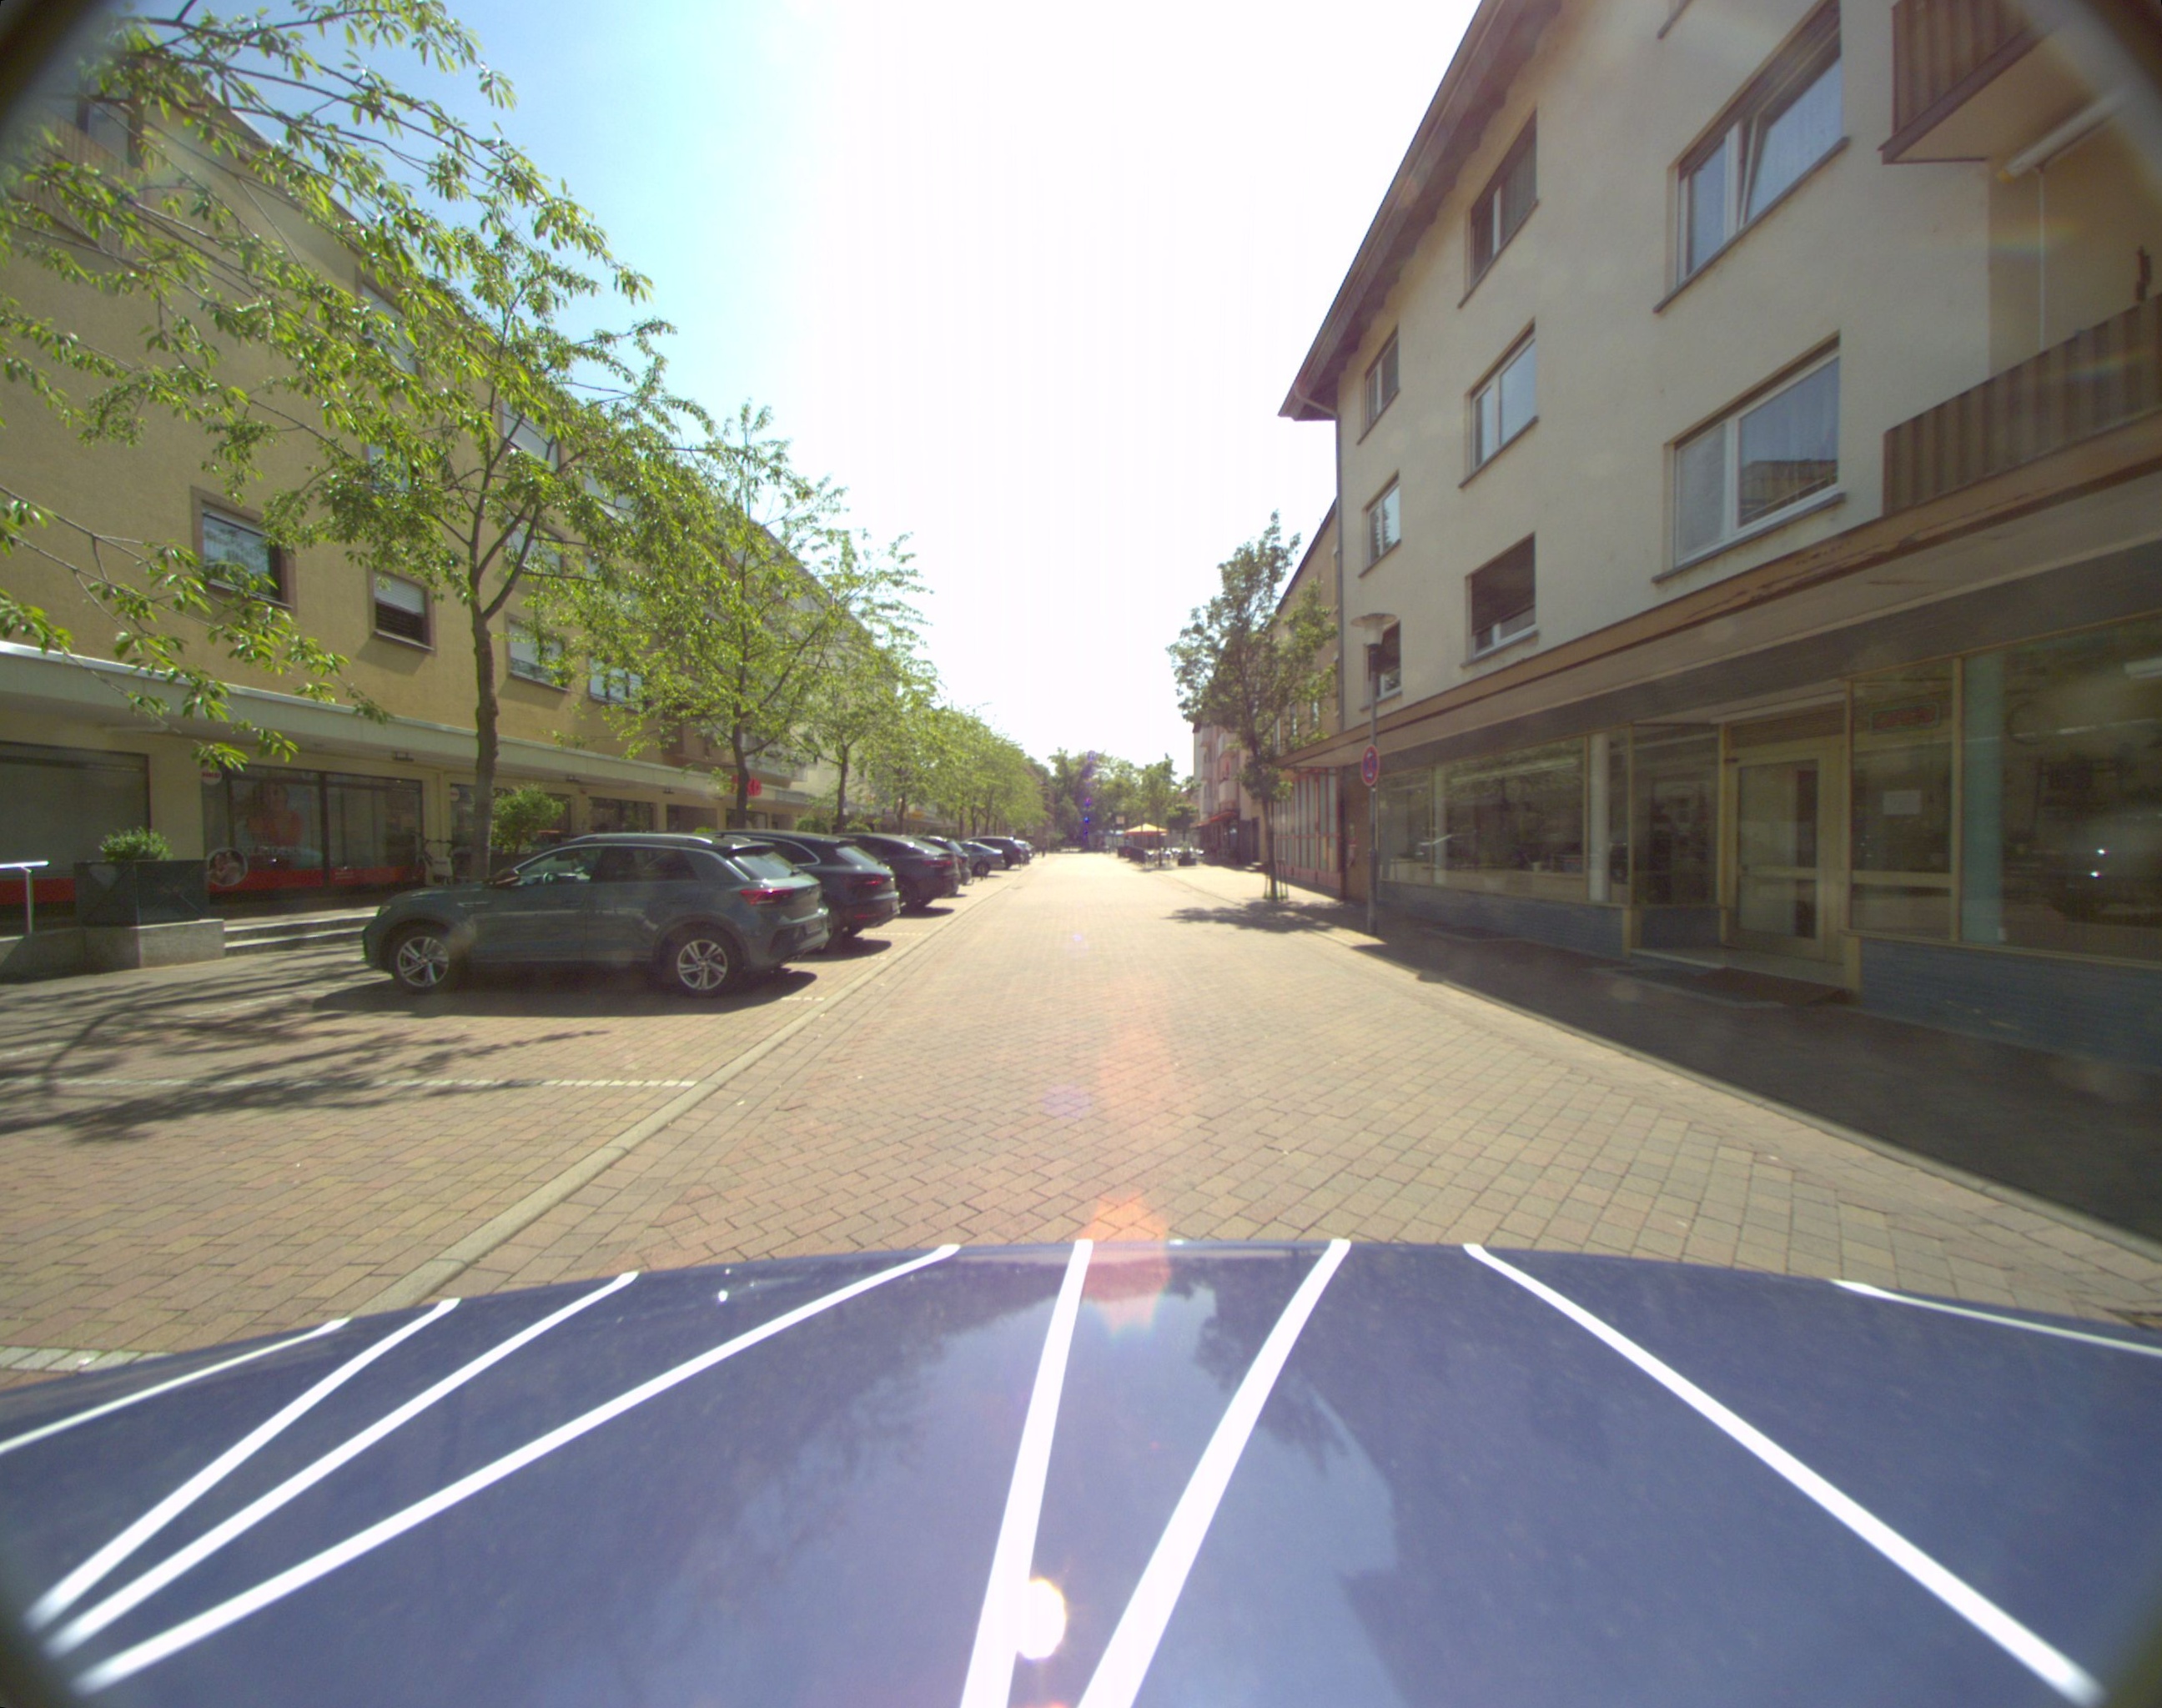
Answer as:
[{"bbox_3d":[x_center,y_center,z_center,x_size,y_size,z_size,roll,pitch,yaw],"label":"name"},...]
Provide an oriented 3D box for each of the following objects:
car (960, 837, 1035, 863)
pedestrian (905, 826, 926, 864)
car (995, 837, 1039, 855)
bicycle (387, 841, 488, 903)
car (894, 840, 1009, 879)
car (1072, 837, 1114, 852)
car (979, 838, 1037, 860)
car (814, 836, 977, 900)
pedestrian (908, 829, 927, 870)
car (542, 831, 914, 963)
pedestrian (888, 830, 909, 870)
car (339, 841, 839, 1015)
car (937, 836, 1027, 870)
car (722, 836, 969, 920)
[{"bbox_3d":[-5.341,-0.268,49.061,4.586,1.535,1.806,-1,2,0],"label":"car"},{"bbox_3d":[-7.700,-0.412,35.336,0.614,1.721,0.649,0,3,34],"label":"pedestrian"},{"bbox_3d":[-5.169,-0.655,61.706,3.401,1.382,1.460,1,2,0],"label":"car"},{"bbox_3d":[-12.823,0.319,15.205,0.413,1.117,1.774,-2,2,1],"label":"bicycle"},{"bbox_3d":[-5.369,0.194,31.505,4.391,1.455,1.887,-1,2,-21],"label":"car"},{"bbox_3d":[1.344,-1.039,83.319,4.335,1.459,1.777,-1,2,6],"label":"car"},{"bbox_3d":[-4.935,-0.382,51.609,3.800,1.423,1.613,1,2,0],"label":"car"},{"bbox_3d":[-4.957,0.347,20.671,4.037,1.603,1.680,1,2,-2],"label":"car"},{"bbox_3d":[-7.366,-0.206,34.244,0.607,1.786,0.626,-2,2,-28],"label":"pedestrian"},{"bbox_3d":[-4.695,0.521,10.703,4.291,1.671,1.999,0,2,-3],"label":"car"},{"bbox_3d":[-8.107,-0.187,33.786,0.633,1.763,0.685,-3,3,-38],"label":"pedestrian"},{"bbox_3d":[-4.782,0.669,7.879,3.954,1.525,1.823,1,2,-2],"label":"car"},{"bbox_3d":[-4.871,-0.085,37.646,4.255,1.609,1.756,1,2,-2],"label":"car"},{"bbox_3d":[-4.739,0.446,15.764,4.519,1.579,1.850,1,2,1],"label":"car"}]
